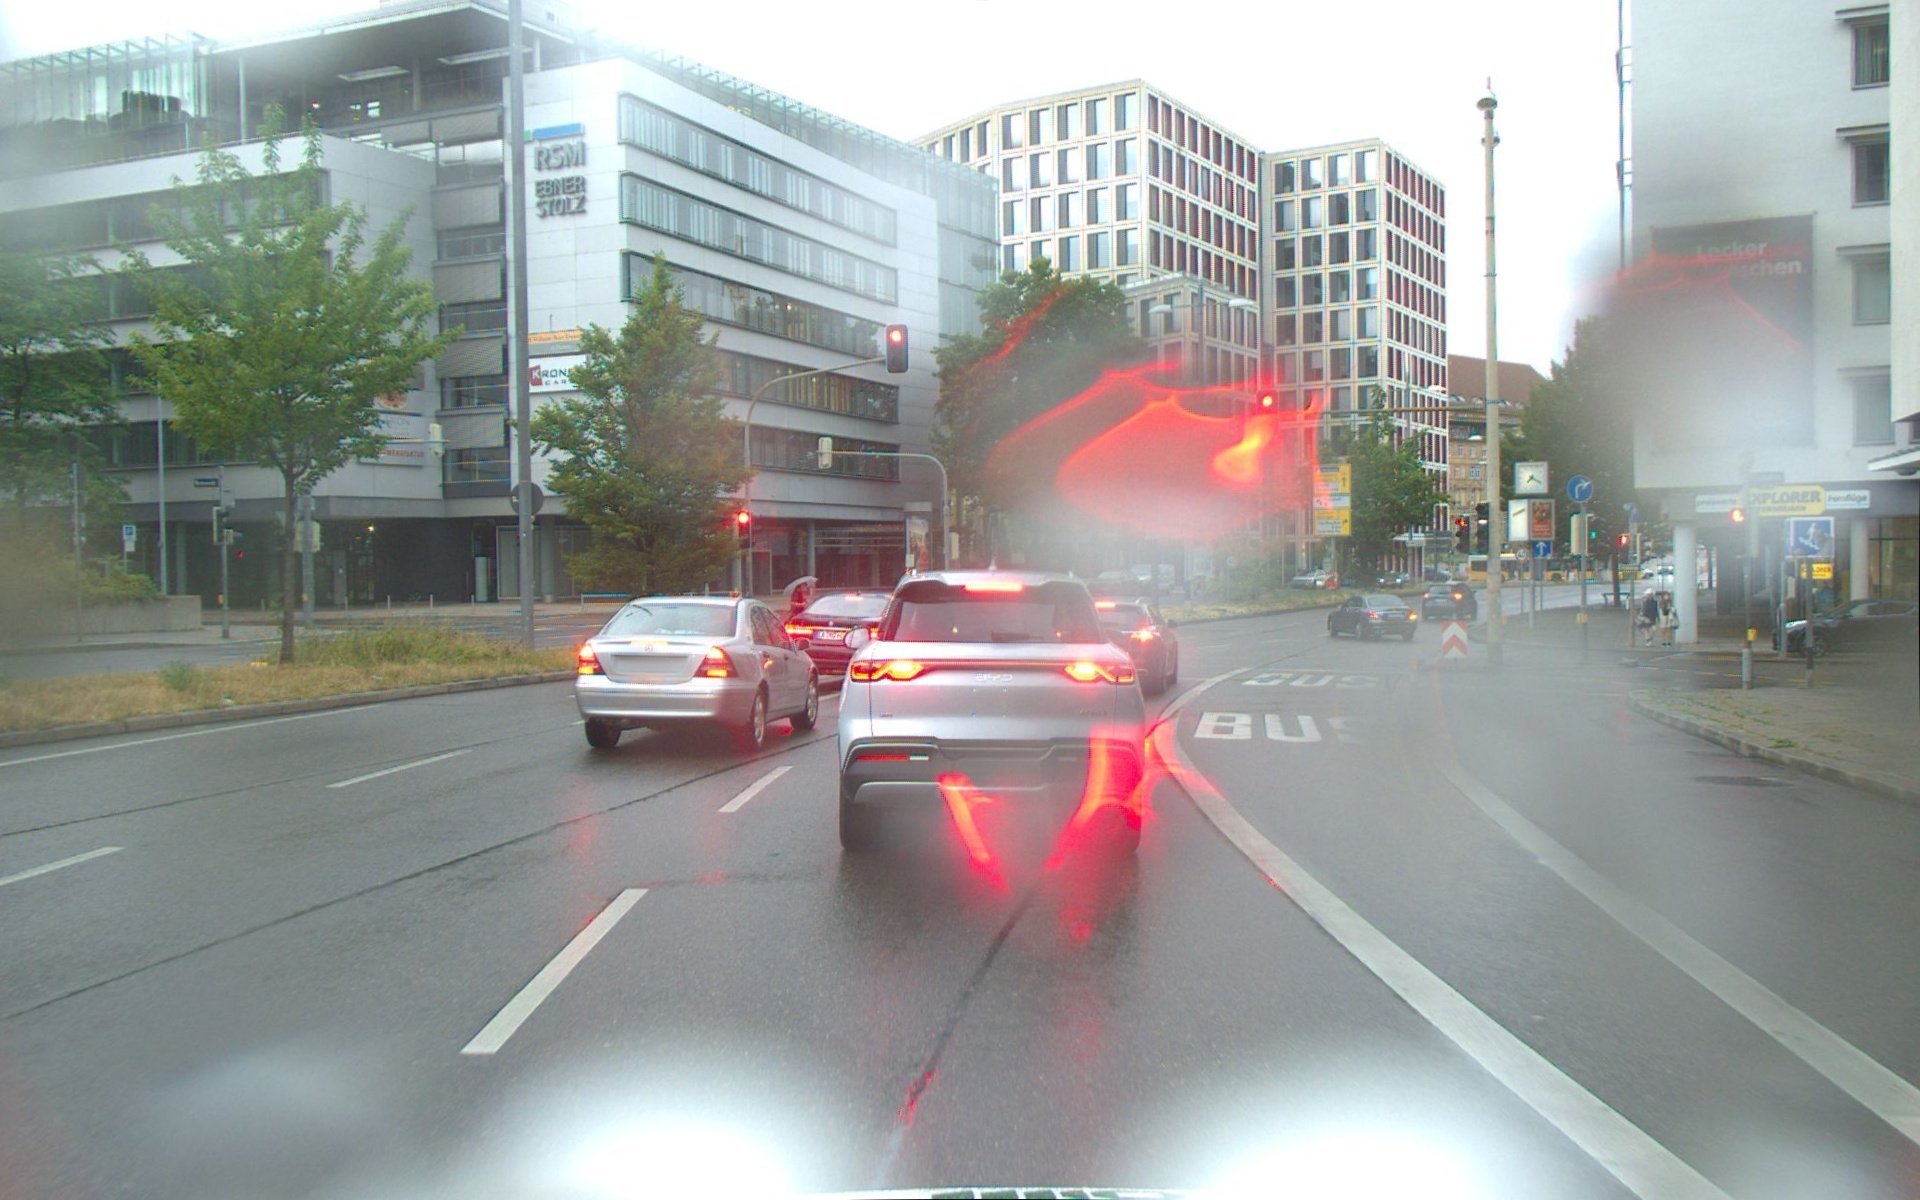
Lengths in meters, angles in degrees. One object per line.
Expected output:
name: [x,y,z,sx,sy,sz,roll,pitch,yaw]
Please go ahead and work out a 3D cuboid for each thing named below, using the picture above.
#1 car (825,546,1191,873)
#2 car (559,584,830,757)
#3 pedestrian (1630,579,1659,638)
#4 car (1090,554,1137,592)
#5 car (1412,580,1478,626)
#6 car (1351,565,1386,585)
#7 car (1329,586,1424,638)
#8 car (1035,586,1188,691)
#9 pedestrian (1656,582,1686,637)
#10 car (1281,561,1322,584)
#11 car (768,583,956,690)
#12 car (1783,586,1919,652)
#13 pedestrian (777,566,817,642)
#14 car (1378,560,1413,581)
car: [0.234,0.559,11.078,1.953,1.739,4.482,0,1,-1]
car: [-2.529,0.606,16.776,1.646,1.512,4.200,0,1,6]
pedestrian: [19.687,0.243,47.560,0.712,1.698,0.691,0,-1,18]
car: [9.412,-1.627,101.171,1.701,2.199,4.494,1,0,20]
car: [20.233,0.099,68.878,2.006,1.796,4.354,1,1,24]
car: [36.509,-2.245,147.846,1.956,1.735,4.302,1,2,30]
car: [13.493,0.358,53.812,1.871,1.536,4.356,1,1,-1]
car: [2.538,0.555,26.822,1.913,1.557,4.003,0,1,14]
pedestrian: [20.315,0.281,47.262,0.712,1.551,0.760,0,-1,18]
car: [26.760,-2.175,129.507,1.956,1.735,4.302,1,2,30]
car: [-1.474,0.516,26.513,1.913,1.557,4.003,0,1,14]
car: [23.189,0.470,41.998,3.905,1.579,2.000,1,1,21]
pedestrian: [-3.830,0.087,38.921,0.903,1.768,0.729,0,0,-2]
car: [37.351,-2.544,141.894,1.957,1.735,3.993,1,2,30]
